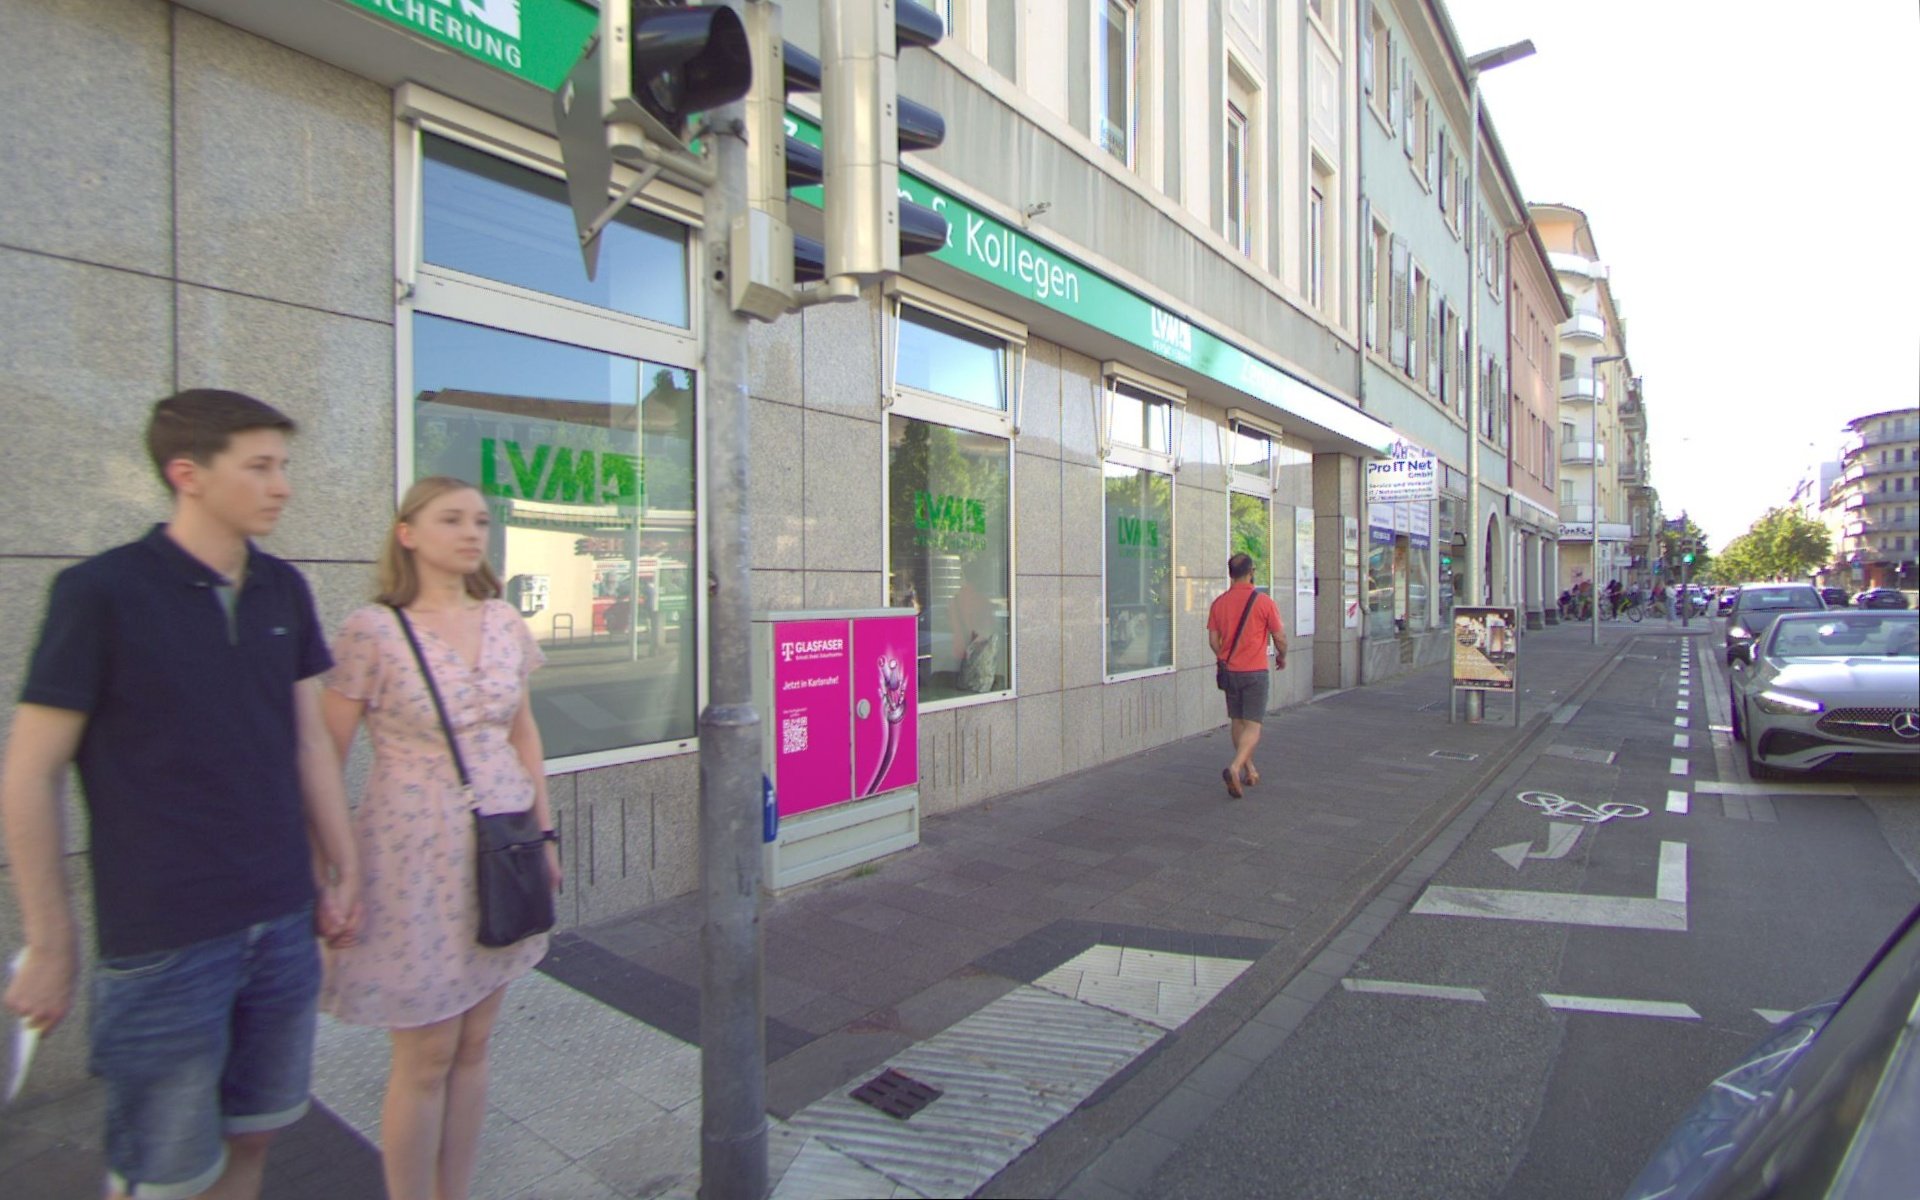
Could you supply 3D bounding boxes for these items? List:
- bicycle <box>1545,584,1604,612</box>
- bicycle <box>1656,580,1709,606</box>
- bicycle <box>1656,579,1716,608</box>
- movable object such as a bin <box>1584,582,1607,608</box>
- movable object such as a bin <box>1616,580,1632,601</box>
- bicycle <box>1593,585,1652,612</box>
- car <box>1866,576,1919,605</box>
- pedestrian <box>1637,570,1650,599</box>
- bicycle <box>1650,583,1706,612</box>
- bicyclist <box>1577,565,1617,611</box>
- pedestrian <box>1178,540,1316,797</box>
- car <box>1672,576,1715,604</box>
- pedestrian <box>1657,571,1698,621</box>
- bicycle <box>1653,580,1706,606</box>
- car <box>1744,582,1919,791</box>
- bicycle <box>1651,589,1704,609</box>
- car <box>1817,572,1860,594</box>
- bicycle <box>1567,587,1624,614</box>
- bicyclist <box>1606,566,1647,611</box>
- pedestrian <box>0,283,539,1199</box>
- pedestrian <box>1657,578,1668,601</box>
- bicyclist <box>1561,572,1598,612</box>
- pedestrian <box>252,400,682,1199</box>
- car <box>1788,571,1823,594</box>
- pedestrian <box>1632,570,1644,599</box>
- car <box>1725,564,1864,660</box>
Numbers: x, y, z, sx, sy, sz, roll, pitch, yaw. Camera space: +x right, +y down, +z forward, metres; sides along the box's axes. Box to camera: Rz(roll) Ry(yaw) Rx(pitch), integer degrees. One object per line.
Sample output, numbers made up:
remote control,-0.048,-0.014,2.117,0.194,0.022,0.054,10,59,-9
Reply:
bicycle,24.944,-0.064,41.137,0.719,1.110,1.921,-1,0,-31
bicycle,33.813,-0.339,47.366,2.017,1.164,0.706,0,1,38
bicycle,32.427,-0.289,45.222,2.127,1.260,0.702,-1,0,33
movable object such as a bin,28.001,-0.226,44.595,0.805,1.126,0.612,-2,0,36
movable object such as a bin,38.261,-0.547,58.331,0.699,1.175,0.948,-1,0,37
bicycle,26.156,-0.056,39.971,0.549,1.032,1.918,-1,0,-25
car,51.282,-0.560,55.670,1.646,1.414,3.991,5,4,36
pedestrian,46.559,-1.033,68.980,0.690,1.930,0.895,-1,0,34
bicycle,31.521,-0.113,44.456,1.931,1.227,0.923,-1,0,32
bicyclist,25.027,-0.477,39.784,1.125,1.783,0.750,-1,0,15
pedestrian,2.098,0.451,7.367,0.688,1.724,0.900,0,1,38
car,38.504,-0.548,53.075,1.685,1.416,3.945,-1,0,38
pedestrian,24.817,-0.127,35.021,0.750,1.679,0.817,-1,-1,-16
bicycle,34.324,-0.315,48.305,2.039,1.196,0.674,-1,0,38
car,8.280,0.610,9.062,1.901,1.481,4.304,-3,-1,38
bicycle,31.292,-0.044,44.163,1.833,0.842,0.733,-1,0,32
car,64.292,-1.229,74.130,1.741,1.441,4.204,-3,-1,33
bicycle,24.978,0.024,39.794,1.796,1.006,0.562,-1,0,16
bicyclist,26.177,-0.443,39.752,0.711,1.706,1.134,-1,0,-25
pedestrian,-1.202,0.538,1.709,0.638,1.865,0.673,-1,0,36
pedestrian,57.271,-0.858,82.492,0.690,1.930,0.895,-1,0,34
bicyclist,25.075,-0.323,40.960,0.712,1.603,1.031,-1,0,-31
pedestrian,-1.070,0.533,2.233,0.571,1.781,0.641,-2,-1,36
car,75.745,-1.604,90.715,1.988,1.971,4.722,2,2,36
pedestrian,46.749,-1.071,69.761,0.668,1.978,0.607,-1,0,34
car,16.996,0.195,20.785,1.988,1.749,3.947,-1,0,37
